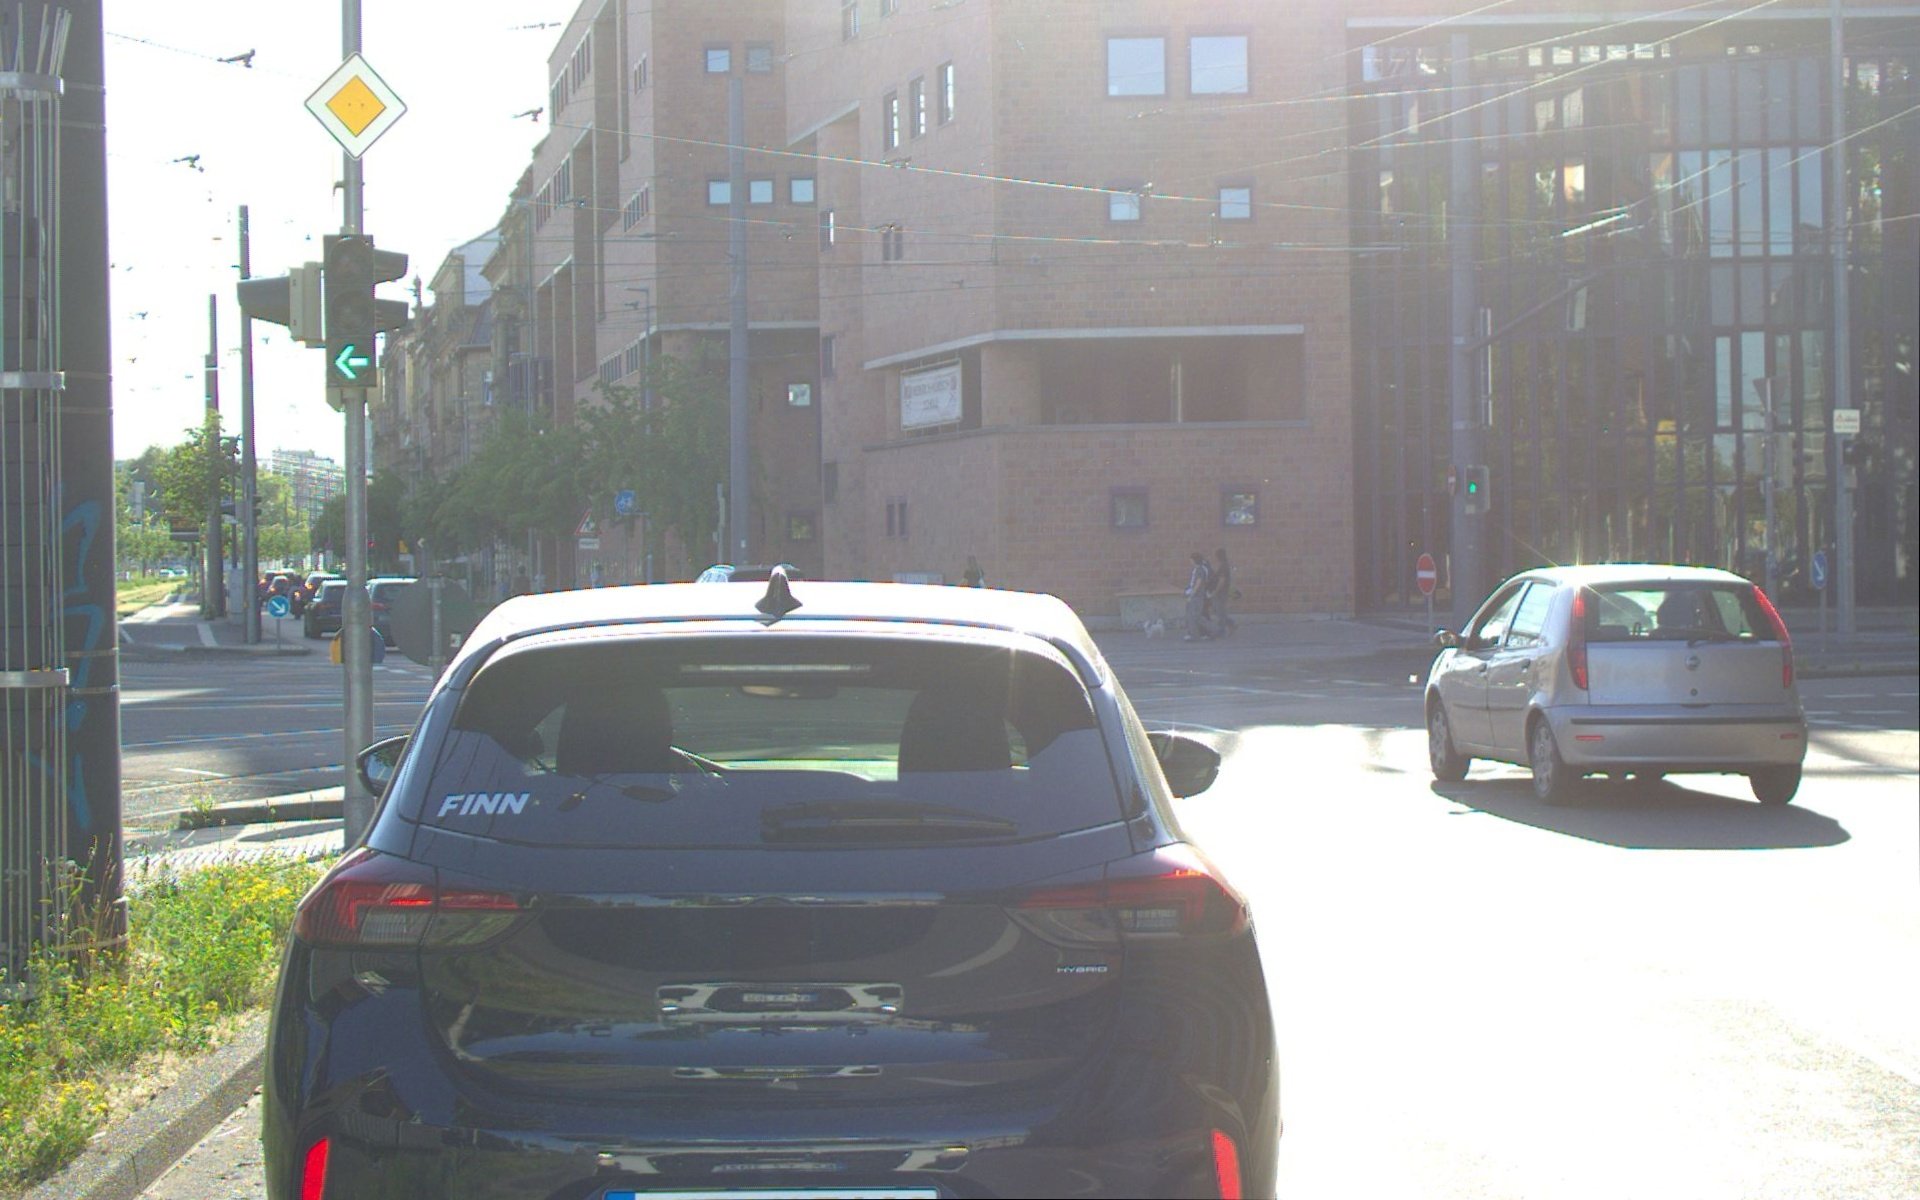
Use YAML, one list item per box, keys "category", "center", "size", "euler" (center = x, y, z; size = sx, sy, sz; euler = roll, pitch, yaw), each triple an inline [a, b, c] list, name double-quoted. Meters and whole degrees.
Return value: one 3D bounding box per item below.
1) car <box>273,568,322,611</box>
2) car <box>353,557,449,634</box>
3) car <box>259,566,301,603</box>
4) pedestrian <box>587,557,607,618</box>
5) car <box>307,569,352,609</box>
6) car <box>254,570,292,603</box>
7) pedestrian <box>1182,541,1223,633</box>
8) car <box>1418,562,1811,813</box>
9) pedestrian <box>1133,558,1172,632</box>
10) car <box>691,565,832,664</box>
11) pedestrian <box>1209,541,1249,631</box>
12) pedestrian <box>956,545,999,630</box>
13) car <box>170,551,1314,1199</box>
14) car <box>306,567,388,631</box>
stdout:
- category: "car"
  center: [-23.289, -0.372, 120.732]
  size: [1.514, 1.448, 3.585]
  euler: [-2, 1, -13]
- category: "car"
  center: [-11.174, -0.112, 68.562]
  size: [1.720, 1.448, 3.699]
  euler: [-2, 1, -11]
- category: "car"
  center: [-27.961, -0.634, 141.280]
  size: [1.514, 1.448, 3.585]
  euler: [-2, 1, -13]
- category: "pedestrian"
  center: [-10.873, -0.382, 102.895]
  size: [0.547, 1.780, 0.573]
  euler: [-1, 3, -8]
- category: "car"
  center: [-24.320, -0.438, 132.546]
  size: [1.514, 1.448, 3.585]
  euler: [-2, 1, -13]
- category: "car"
  center: [-30.954, -0.613, 154.925]
  size: [1.514, 1.448, 3.585]
  euler: [-2, 1, -13]
- category: "pedestrian"
  center: [4.729, -0.254, 67.112]
  size: [0.571, 1.780, 0.549]
  euler: [-2, 1, -19]
- category: "car"
  center: [4.107, 0.497, 22.062]
  size: [1.559, 1.451, 3.432]
  euler: [-1, 1, -6]
- category: "pedestrian"
  center: [3.903, -0.105, 69.700]
  size: [0.547, 1.472, 0.573]
  euler: [-2, 2, -29]
- category: "car"
  center: [-3.150, 0.205, 53.898]
  size: [1.670, 1.448, 3.699]
  euler: [-2, 1, -11]
- category: "pedestrian"
  center: [5.359, -0.277, 68.506]
  size: [0.571, 1.780, 0.549]
  euler: [-2, 1, -19]
- category: "pedestrian"
  center: [0.370, -0.272, 73.452]
  size: [0.640, 1.780, 0.688]
  euler: [-2, 1, -24]
- category: "car"
  center: [-0.343, 0.660, 6.898]
  size: [1.672, 1.496, 3.691]
  euler: [1, 1, -1]
- category: "car"
  center: [-14.802, -0.043, 82.907]
  size: [1.720, 1.448, 3.699]
  euler: [-2, 1, -13]
